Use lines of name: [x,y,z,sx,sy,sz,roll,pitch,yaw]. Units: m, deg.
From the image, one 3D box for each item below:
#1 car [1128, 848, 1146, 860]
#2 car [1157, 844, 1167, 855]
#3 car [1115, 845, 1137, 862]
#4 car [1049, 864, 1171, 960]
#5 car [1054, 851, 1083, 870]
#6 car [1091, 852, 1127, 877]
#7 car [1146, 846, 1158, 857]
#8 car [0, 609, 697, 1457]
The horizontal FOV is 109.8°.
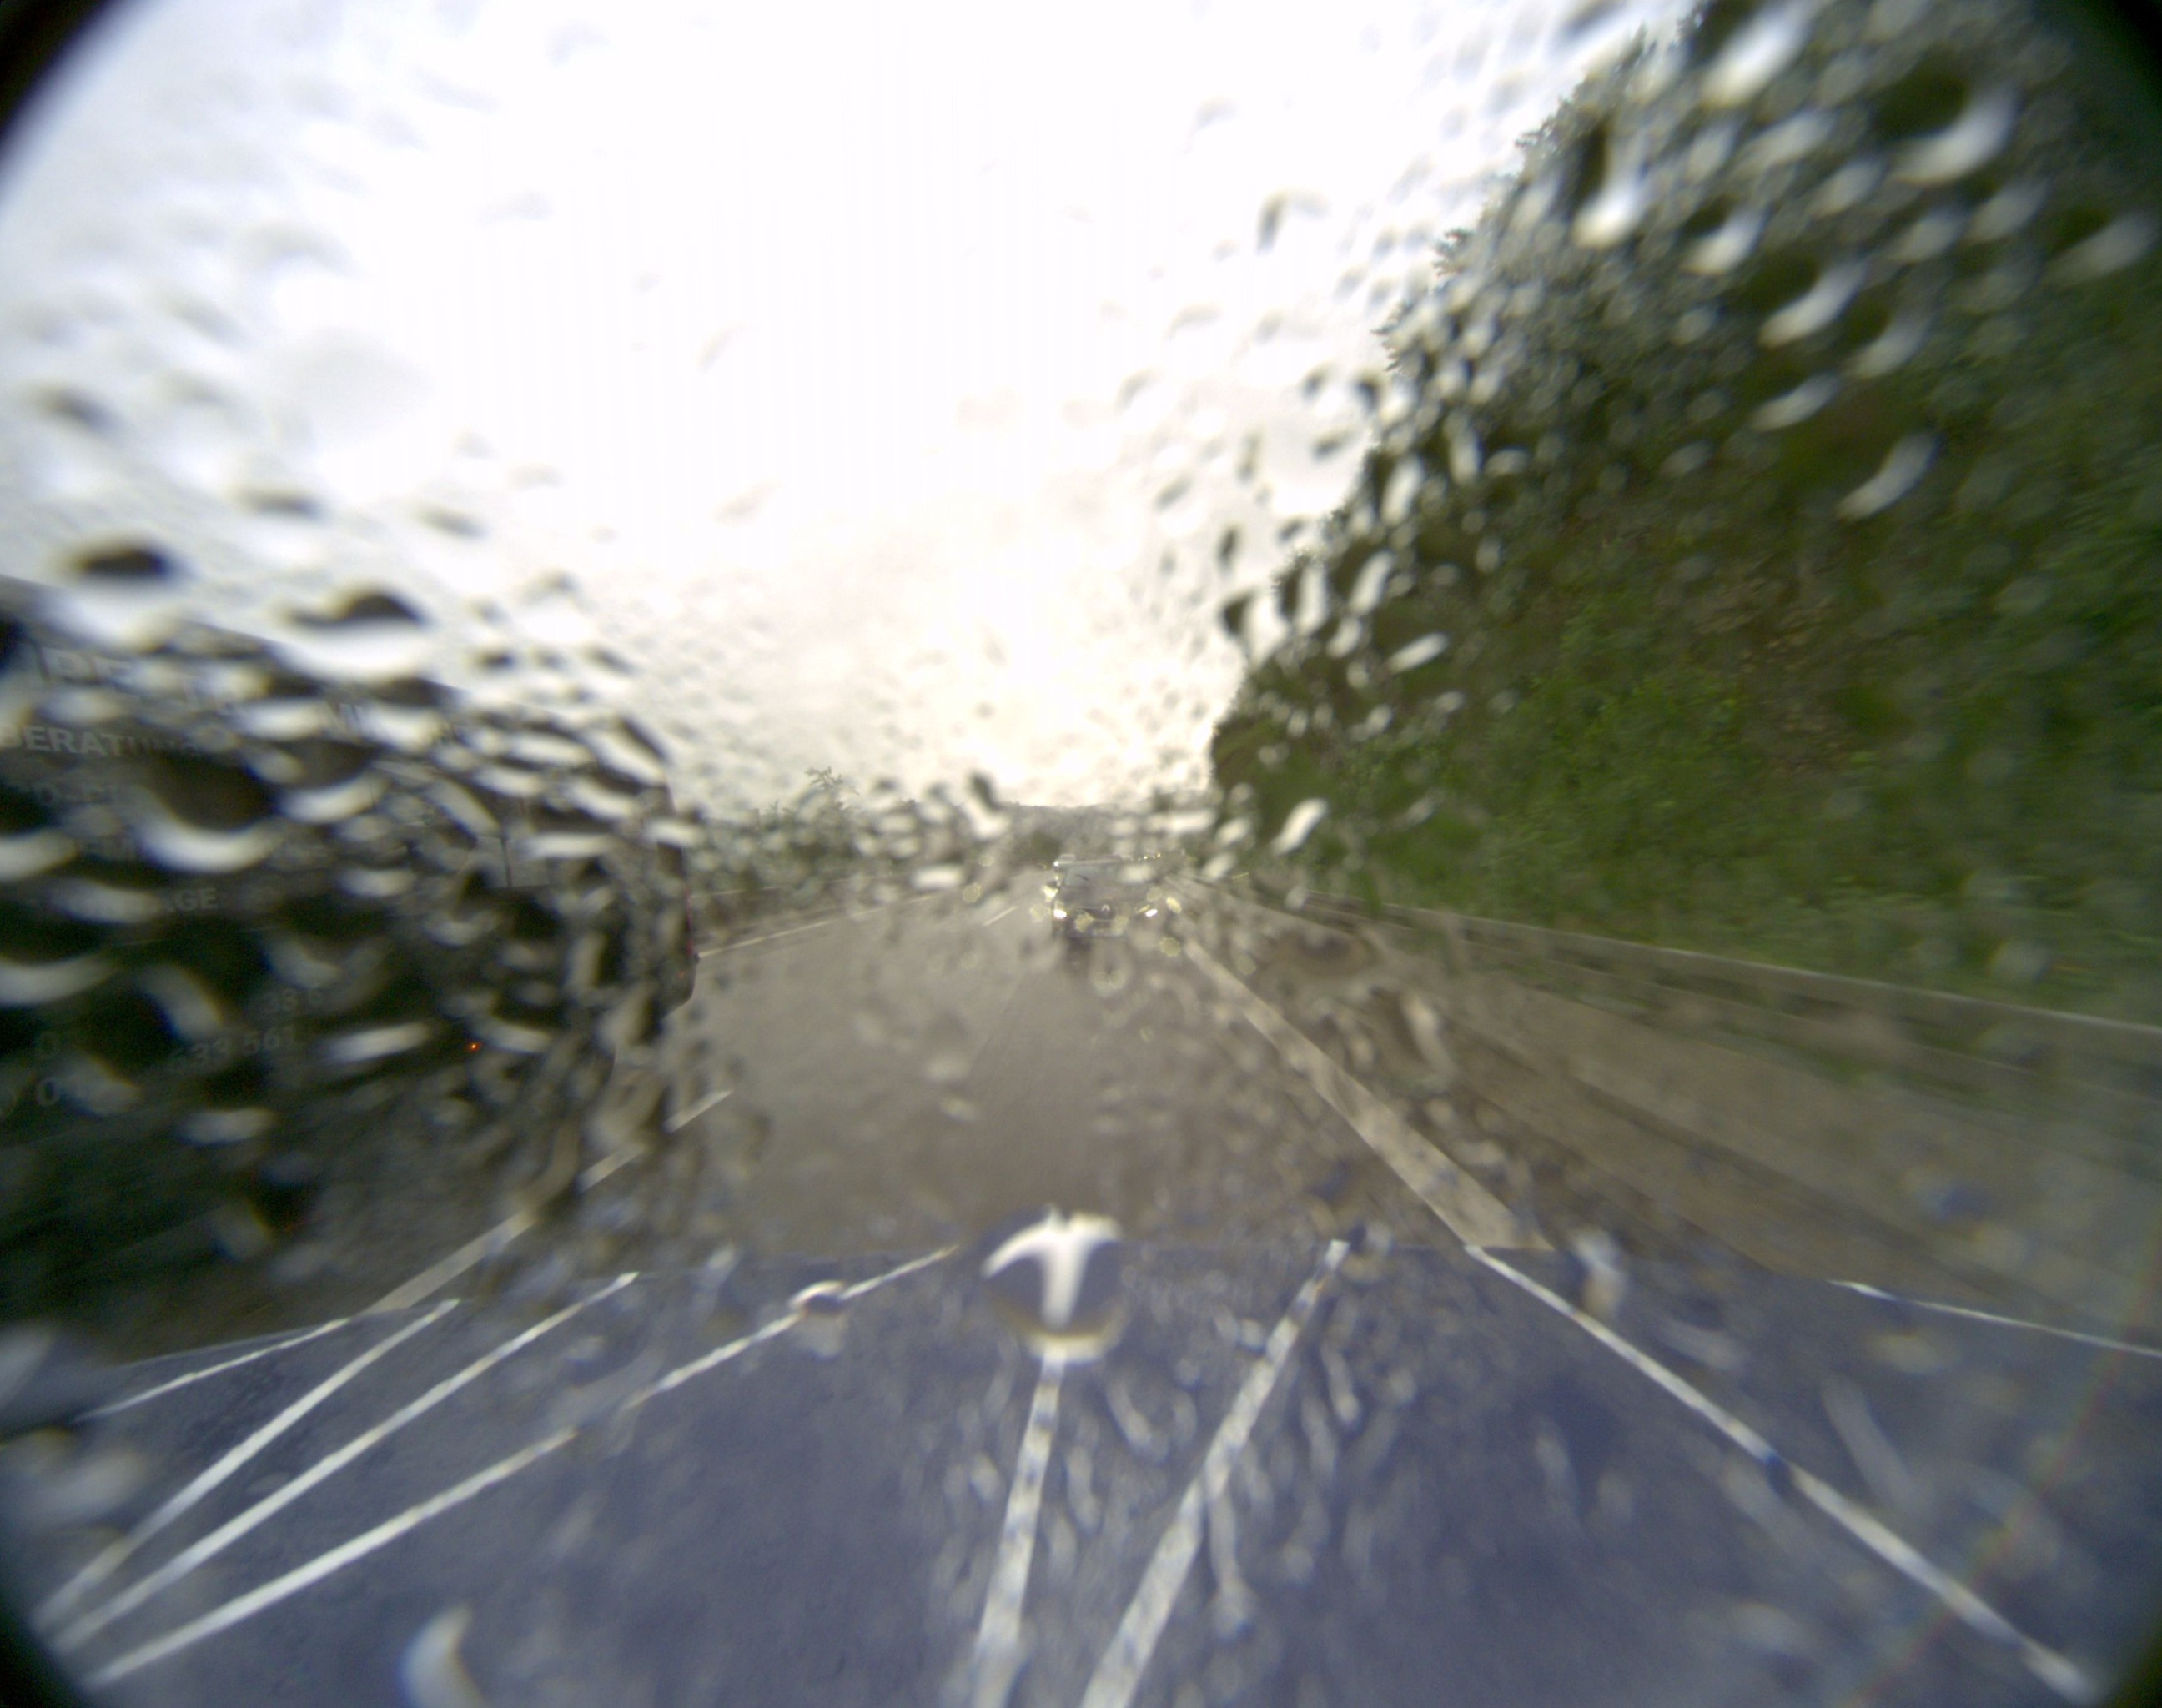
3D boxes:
car: [6.826,0.007,92.385,1.989,1.316,4.144,-2,1,6]
car: [14.027,-0.829,130.950,1.590,1.895,3.755,-2,1,7]
car: [4.379,-0.044,73.156,1.906,1.545,4.565,-2,1,5]
car: [0.520,0.930,13.781,1.839,1.316,4.135,-2,1,2]
car: [-1.029,0.533,65.558,1.990,1.407,4.565,-2,1,5]
car: [1.694,0.598,44.949,1.712,1.316,3.946,-2,1,7]
car: [10.558,-0.395,113.178,1.657,1.535,3.665,-2,1,7]
car: [-4.168,0.542,2.816,1.998,2.479,6.705,-1,0,0]
